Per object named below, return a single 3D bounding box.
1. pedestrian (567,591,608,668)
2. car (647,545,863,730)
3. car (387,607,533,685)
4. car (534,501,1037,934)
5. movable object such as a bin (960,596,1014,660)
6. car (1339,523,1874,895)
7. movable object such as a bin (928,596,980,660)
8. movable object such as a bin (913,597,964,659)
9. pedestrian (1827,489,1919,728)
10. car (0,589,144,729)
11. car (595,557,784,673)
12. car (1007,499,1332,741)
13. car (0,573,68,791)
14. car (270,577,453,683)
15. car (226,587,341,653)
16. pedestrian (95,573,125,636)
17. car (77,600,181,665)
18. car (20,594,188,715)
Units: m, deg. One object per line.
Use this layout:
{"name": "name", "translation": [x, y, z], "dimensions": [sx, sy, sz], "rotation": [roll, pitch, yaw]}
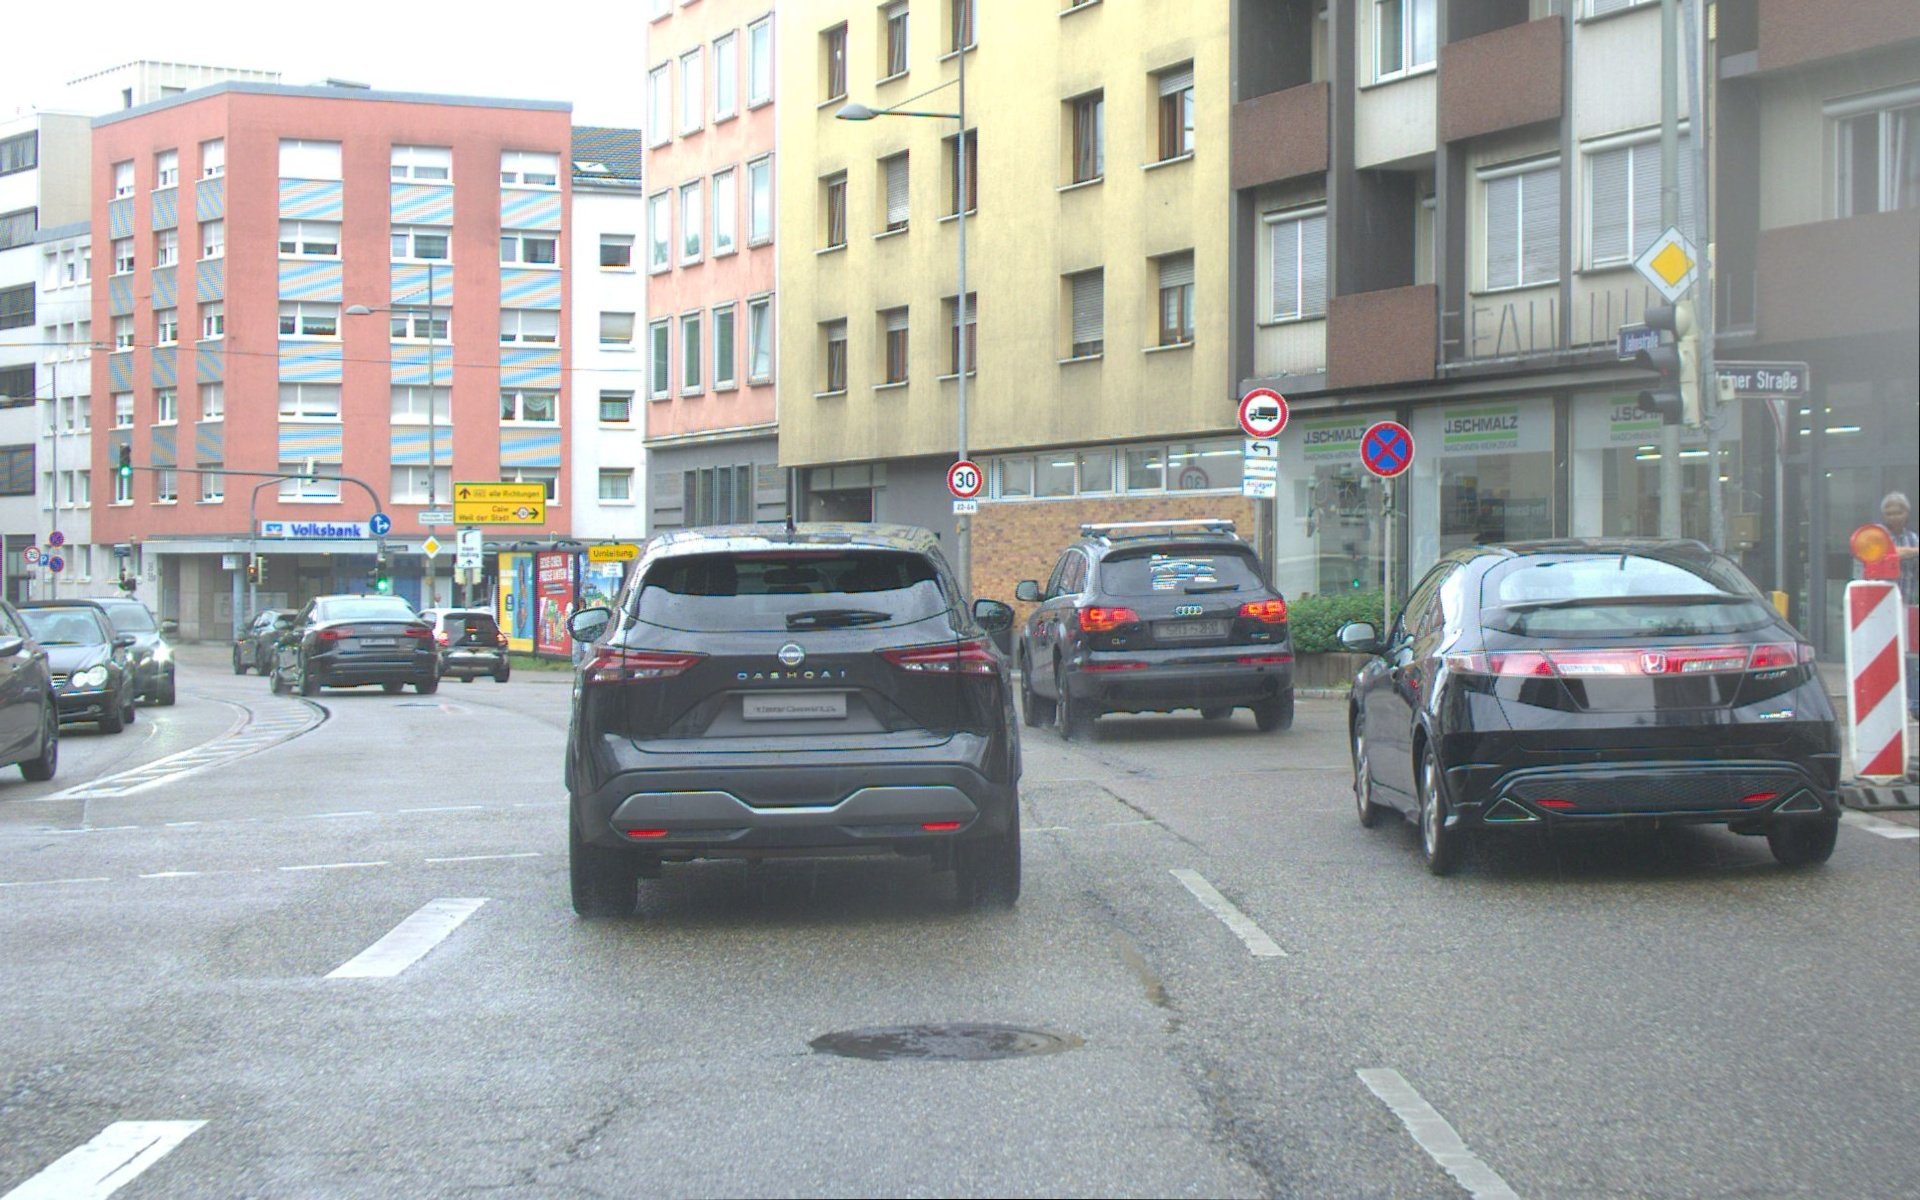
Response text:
{"name": "pedestrian", "translation": [-8.675, 0.685, 80.039], "dimensions": [0.672, 1.781, 1.095], "rotation": [1, 0, -21]}
{"name": "car", "translation": [-2.121, 0.335, 34.524], "dimensions": [1.945, 1.679, 4.001], "rotation": [-2, 1, -6]}
{"name": "car", "translation": [-10.399, 0.934, 71.340], "dimensions": [1.993, 1.481, 4.001], "rotation": [2, 0, -23]}
{"name": "car", "translation": [-0.753, 0.448, 15.095], "dimensions": [1.894, 1.623, 4.000], "rotation": [-1, 0, -3]}
{"name": "movable object such as a bin", "translation": [0.450, 0.470, 57.782], "dimensions": [0.681, 1.073, 0.668], "rotation": [0, 0, -24]}
{"name": "car", "translation": [2.879, 0.432, 16.158], "dimensions": [1.784, 1.491, 4.056], "rotation": [-1, 0, 1]}
{"name": "movable object such as a bin", "translation": [-0.100, 0.479, 59.042], "dimensions": [0.681, 1.073, 0.668], "rotation": [0, 0, -24]}
{"name": "movable object such as a bin", "translation": [-0.373, 0.483, 59.667], "dimensions": [0.681, 1.073, 0.668], "rotation": [0, 0, -24]}
{"name": "pedestrian", "translation": [6.733, 0.063, 24.910], "dimensions": [0.792, 1.682, 0.821], "rotation": [-2, -1, 13]}
{"name": "car", "translation": [-9.707, 0.609, 36.708], "dimensions": [1.824, 1.361, 4.605], "rotation": [-2, 0, -12]}
{"name": "car", "translation": [-4.541, 0.240, 57.215], "dimensions": [1.945, 1.810, 4.001], "rotation": [-2, 1, -22]}
{"name": "car", "translation": [1.710, 0.148, 29.891], "dimensions": [2.021, 1.863, 4.900], "rotation": [-2, 0, -5]}
{"name": "car", "translation": [-7.554, 0.567, 24.192], "dimensions": [1.852, 1.469, 4.649], "rotation": [-1, 1, -7]}
{"name": "car", "translation": [-8.568, 0.400, 48.928], "dimensions": [1.993, 1.383, 4.501], "rotation": [2, 0, -17]}
{"name": "car", "translation": [-16.639, 0.473, 84.383], "dimensions": [1.993, 1.514, 4.001], "rotation": [2, 0, -22]}
{"name": "pedestrian", "translation": [-29.499, 0.148, 119.322], "dimensions": [0.825, 2.151, 0.770], "rotation": [2, -1, -25]}
{"name": "car", "translation": [-20.880, 0.800, 86.269], "dimensions": [1.993, 1.525, 4.001], "rotation": [2, 0, -21]}
{"name": "car", "translation": [-11.459, 0.684, 45.829], "dimensions": [1.983, 1.454, 4.487], "rotation": [-2, 1, -16]}
